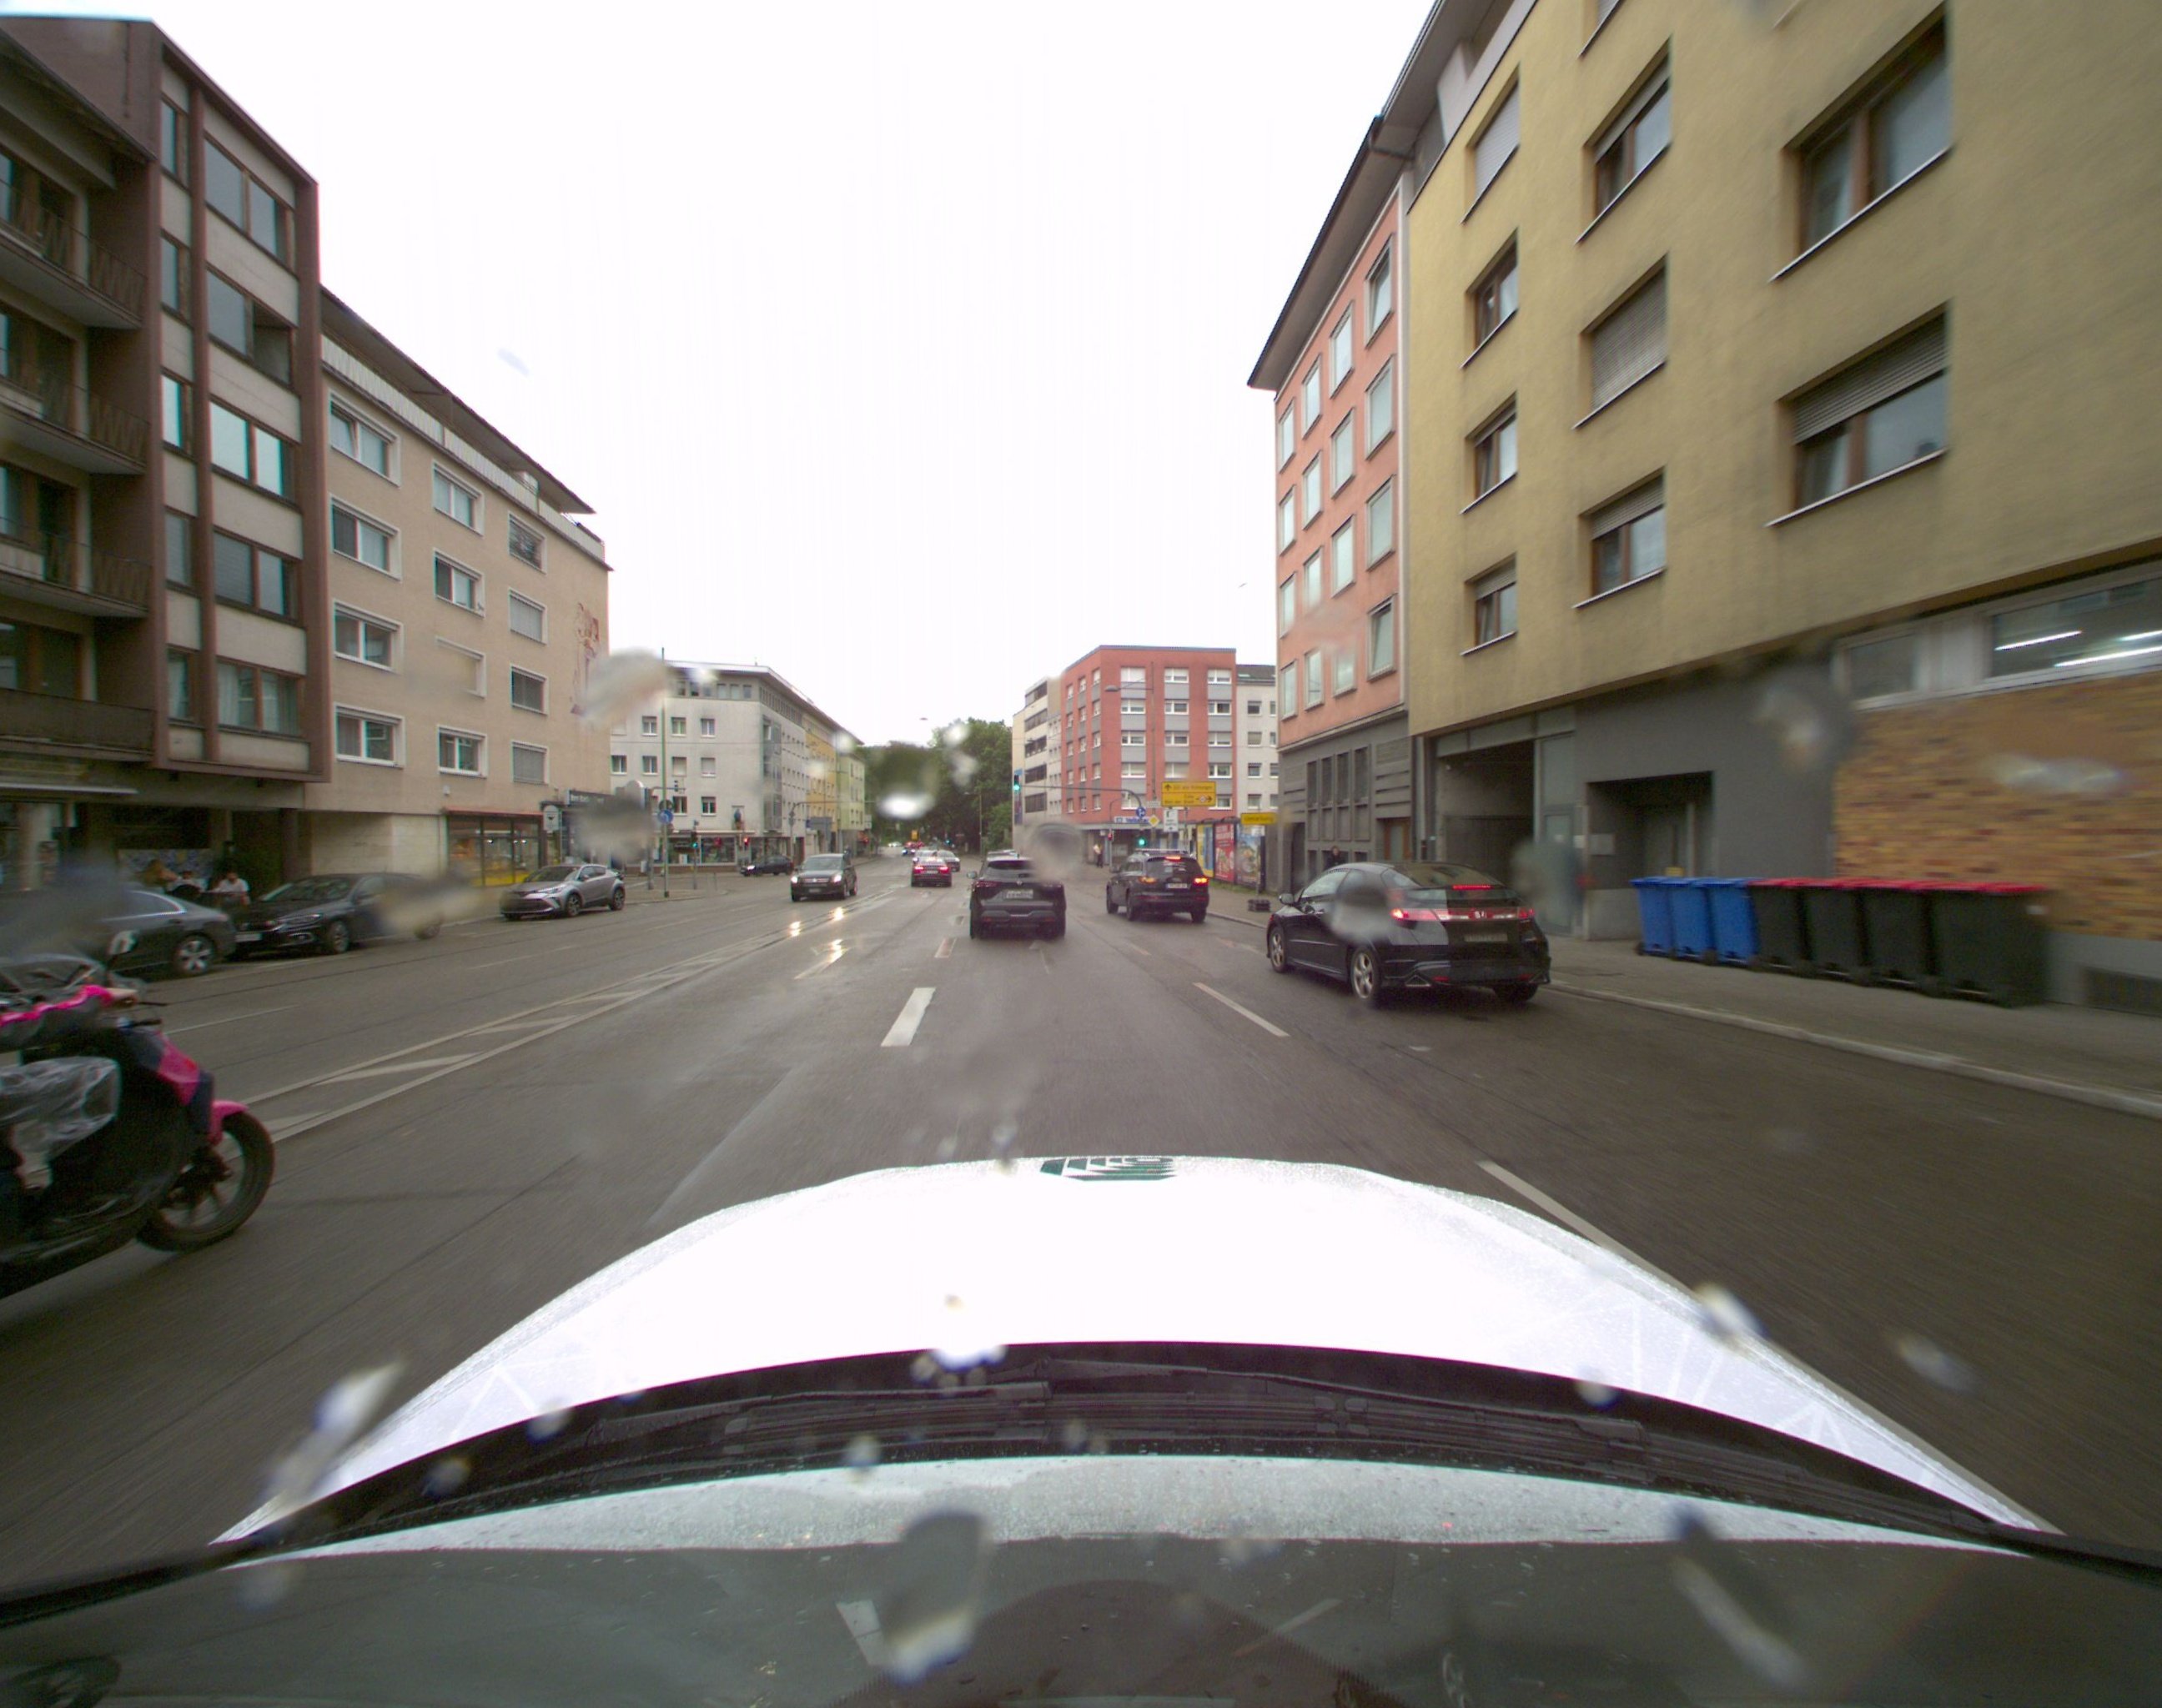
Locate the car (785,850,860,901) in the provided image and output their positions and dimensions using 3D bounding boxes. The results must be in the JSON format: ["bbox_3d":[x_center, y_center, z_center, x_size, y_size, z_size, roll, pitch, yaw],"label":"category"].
[{"bbox_3d":[-9.259,0.722,29.510,1.861,1.647,4.241,-2,0,-9],"label":"car"}]

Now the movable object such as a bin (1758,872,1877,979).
[{"bbox_3d":[7.977,0.751,8.840,0.680,1.076,0.667,-1,0,-7],"label":"movable object such as a bin"}]

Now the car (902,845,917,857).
[{"bbox_3d":[-27.395,-0.526,130.098,1.993,1.859,3.989,1,1,-8],"label":"car"}]

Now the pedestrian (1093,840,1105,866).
[{"bbox_3d":[1.505,-0.095,68.551,0.825,2.158,0.767,1,1,-8],"label":"pedestrian"}]

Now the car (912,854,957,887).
[{"bbox_3d":[-7.108,0.757,39.504,1.994,1.388,4.484,1,1,-11],"label":"car"}]

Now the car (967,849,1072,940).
[{"bbox_3d":[-1.362,0.733,16.748,1.893,1.629,3.989,0,0,-8],"label":"car"}]

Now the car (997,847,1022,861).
[{"bbox_3d":[-7.854,0.005,89.292,1.778,1.401,4.554,-3,2,-16],"label":"car"}]

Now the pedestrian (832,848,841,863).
[{"bbox_3d":[-25.366,0.148,84.487,0.686,1.581,0.650,2,0,-7],"label":"pedestrian"}]

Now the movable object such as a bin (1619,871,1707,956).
[{"bbox_3d":[7.771,0.774,10.894,0.680,1.076,0.667,-1,0,-7],"label":"movable object such as a bin"}]

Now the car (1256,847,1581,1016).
[{"bbox_3d":[3.520,0.721,9.422,1.781,1.497,4.048,-1,-1,-6],"label":"car"}]

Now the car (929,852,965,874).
[{"bbox_3d":[-10.085,0.633,60.981,1.862,1.553,4.198,-1,1,-20],"label":"car"}]

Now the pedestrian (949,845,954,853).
[{"bbox_3d":[-27.366,-1.056,172.431,0.712,1.791,0.673,2,1,34],"label":"pedestrian"}]

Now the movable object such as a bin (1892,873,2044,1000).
[{"bbox_3d":[8.118,0.728,7.475,0.680,1.076,0.667,-1,0,-7],"label":"movable object such as a bin"}]

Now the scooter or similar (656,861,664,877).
[{"bbox_3d":[-30.265,1.063,58.552,0.367,1.094,1.124,-3,4,-31],"label":"scooter or similar"}]

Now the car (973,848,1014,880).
[{"bbox_3d":[-5.018,0.544,46.468,1.947,1.684,3.985,-3,1,-11],"label":"car"}]

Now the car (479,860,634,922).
[{"bbox_3d":[-15.508,1.027,24.442,1.904,1.554,4.623,-2,0,-5],"label":"car"}]

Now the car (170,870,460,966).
[{"bbox_3d":[-14.980,1.147,16.373,1.993,1.477,4.504,-2,1,-9],"label":"car"}]

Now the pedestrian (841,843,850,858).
[{"bbox_3d":[-27.874,-0.438,96.543,0.865,1.788,0.872,2,0,-8],"label":"pedestrian"}]

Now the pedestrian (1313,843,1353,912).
[{"bbox_3d":[6.696,0.599,21.656,0.671,1.787,1.094,0,1,-3],"label":"pedestrian"}]

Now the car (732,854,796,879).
[{"bbox_3d":[-22.734,0.891,58.563,1.676,1.626,4.026,-2,0,33],"label":"car"}]

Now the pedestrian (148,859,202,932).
[{"bbox_3d":[-20.286,0.906,18.249,0.544,1.583,0.665,0,0,-20],"label":"pedestrian"}]

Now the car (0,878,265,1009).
[{"bbox_3d":[-14.338,1.186,11.112,1.881,1.477,4.964,-2,1,-9],"label":"car"}]

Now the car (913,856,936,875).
[{"bbox_3d":[-13.698,0.998,71.404,1.821,1.608,4.416,-1,0,-9],"label":"car"}]

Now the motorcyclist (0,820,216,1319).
[{"bbox_3d":[-3.726,0.655,2.617,0.913,1.493,0.863,-2,0,-6],"label":"motorcyclist"}]

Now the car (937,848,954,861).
[{"bbox_3d":[-17.116,0.066,102.466,1.823,1.612,3.848,1,1,-13],"label":"car"}]

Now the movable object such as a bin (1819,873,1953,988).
[{"bbox_3d":[8.041,0.740,8.156,0.680,1.076,0.667,-1,0,-7],"label":"movable object such as a bin"}]

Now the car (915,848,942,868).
[{"bbox_3d":[-12.434,0.342,66.445,1.937,1.527,4.115,-1,0,-14],"label":"car"}]

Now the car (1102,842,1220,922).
[{"bbox_3d":[1.981,0.660,21.747,2.020,1.869,4.885,1,0,-8],"label":"car"}]

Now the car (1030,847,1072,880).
[{"bbox_3d":[-1.867,0.556,49.108,1.946,1.816,3.986,-3,1,-10],"label":"car"}]

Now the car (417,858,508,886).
[{"bbox_3d":[-40.806,1.162,53.886,4.341,1.631,2.033,-1,1,-20],"label":"car"}]

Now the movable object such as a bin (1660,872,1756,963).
[{"bbox_3d":[7.833,0.773,10.196,0.680,1.076,0.667,-1,0,-7],"label":"movable object such as a bin"}]

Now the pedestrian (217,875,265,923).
[{"bbox_3d":[-20.794,1.107,20.161,0.666,1.148,0.598,0,0,21],"label":"pedestrian"}]

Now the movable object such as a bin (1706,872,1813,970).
[{"bbox_3d":[7.907,0.762,9.516,0.680,1.076,0.667,-1,0,-7],"label":"movable object such as a bin"}]

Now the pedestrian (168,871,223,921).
[{"bbox_3d":[-21.202,0.989,19.508,0.607,1.148,0.631,0,0,-7],"label":"pedestrian"}]

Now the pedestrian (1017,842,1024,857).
[{"bbox_3d":[-7.225,-0.508,97.820,0.614,1.737,0.676,-3,1,-21],"label":"pedestrian"}]

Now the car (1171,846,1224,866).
[{"bbox_3d":[9.451,0.147,66.265,3.944,1.486,1.698,-1,1,-9],"label":"car"}]

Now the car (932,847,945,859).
[{"bbox_3d":[-22.058,-0.153,125.993,1.822,1.796,3.850,1,1,-12],"label":"car"}]

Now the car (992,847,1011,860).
[{"bbox_3d":[-9.354,-0.098,95.587,1.717,1.442,4.064,-3,1,-13],"label":"car"}]

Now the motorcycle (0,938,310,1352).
[{"bbox_3d":[-3.724,0.984,2.635,0.586,1.191,2.098,-1,0,-5],"label":"motorcycle"}]
